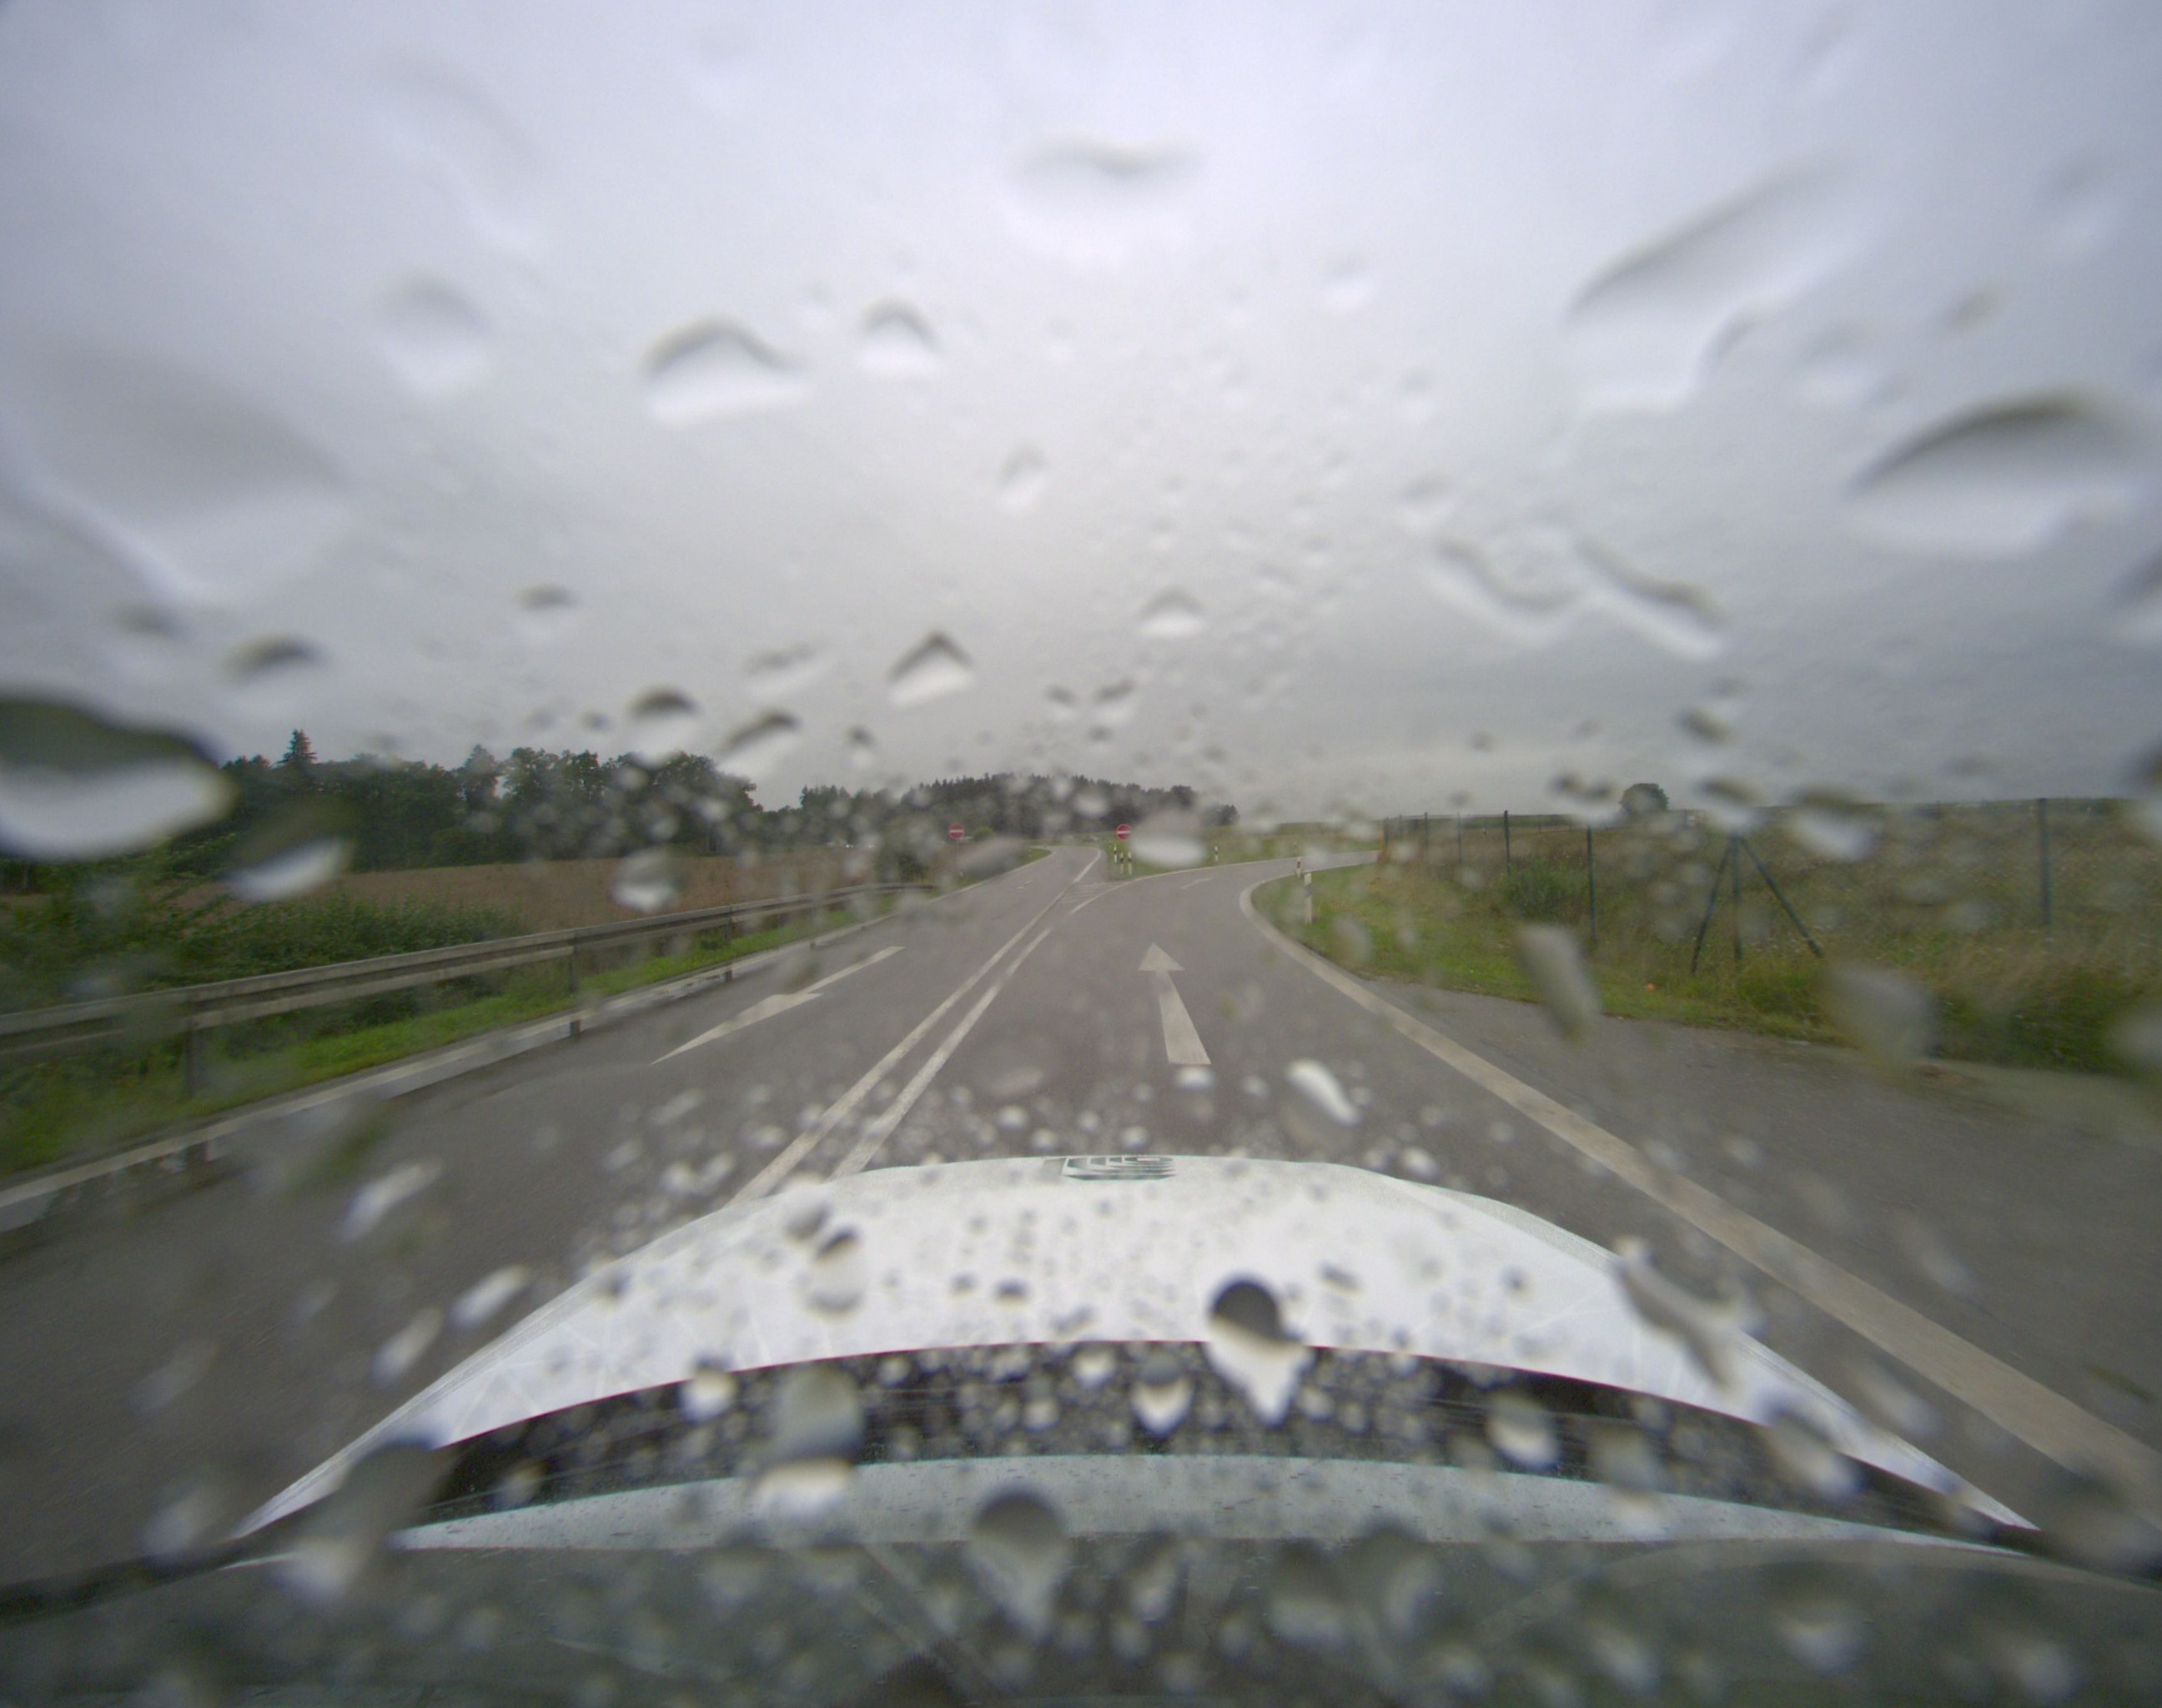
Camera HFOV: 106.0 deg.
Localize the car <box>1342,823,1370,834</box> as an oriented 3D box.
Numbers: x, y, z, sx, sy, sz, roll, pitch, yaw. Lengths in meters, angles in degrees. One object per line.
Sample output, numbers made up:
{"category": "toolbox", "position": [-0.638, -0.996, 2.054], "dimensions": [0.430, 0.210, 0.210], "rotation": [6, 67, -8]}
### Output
{"category": "car", "position": [45.637, -4.215, 135.321], "dimensions": [1.745, 1.736, 3.952], "rotation": [-4, 2, -41]}
